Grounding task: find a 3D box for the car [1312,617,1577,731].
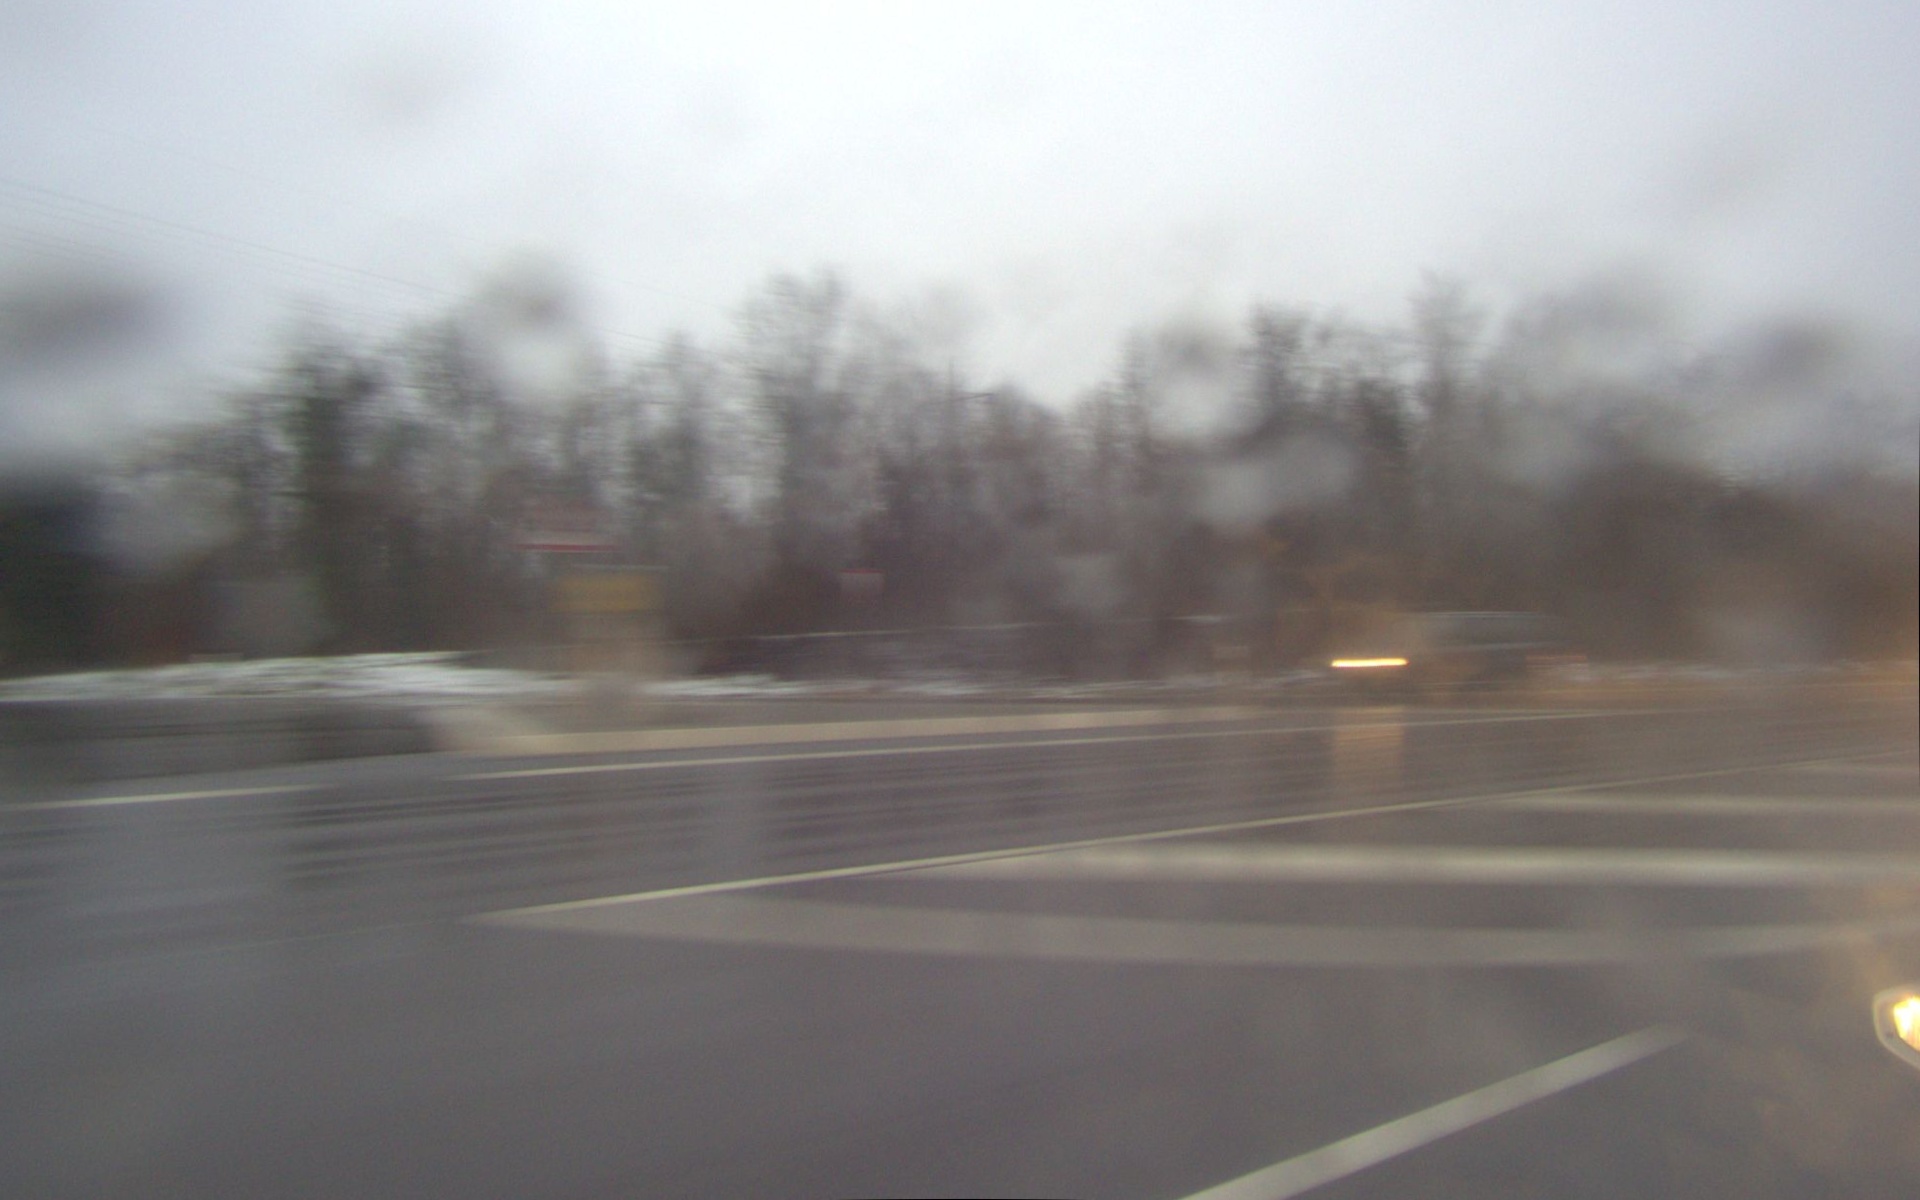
[{"bbox_3d":[9.283,1.395,19.425,4.276,1.996,1.842,1,0,-7],"label":"car"}]
